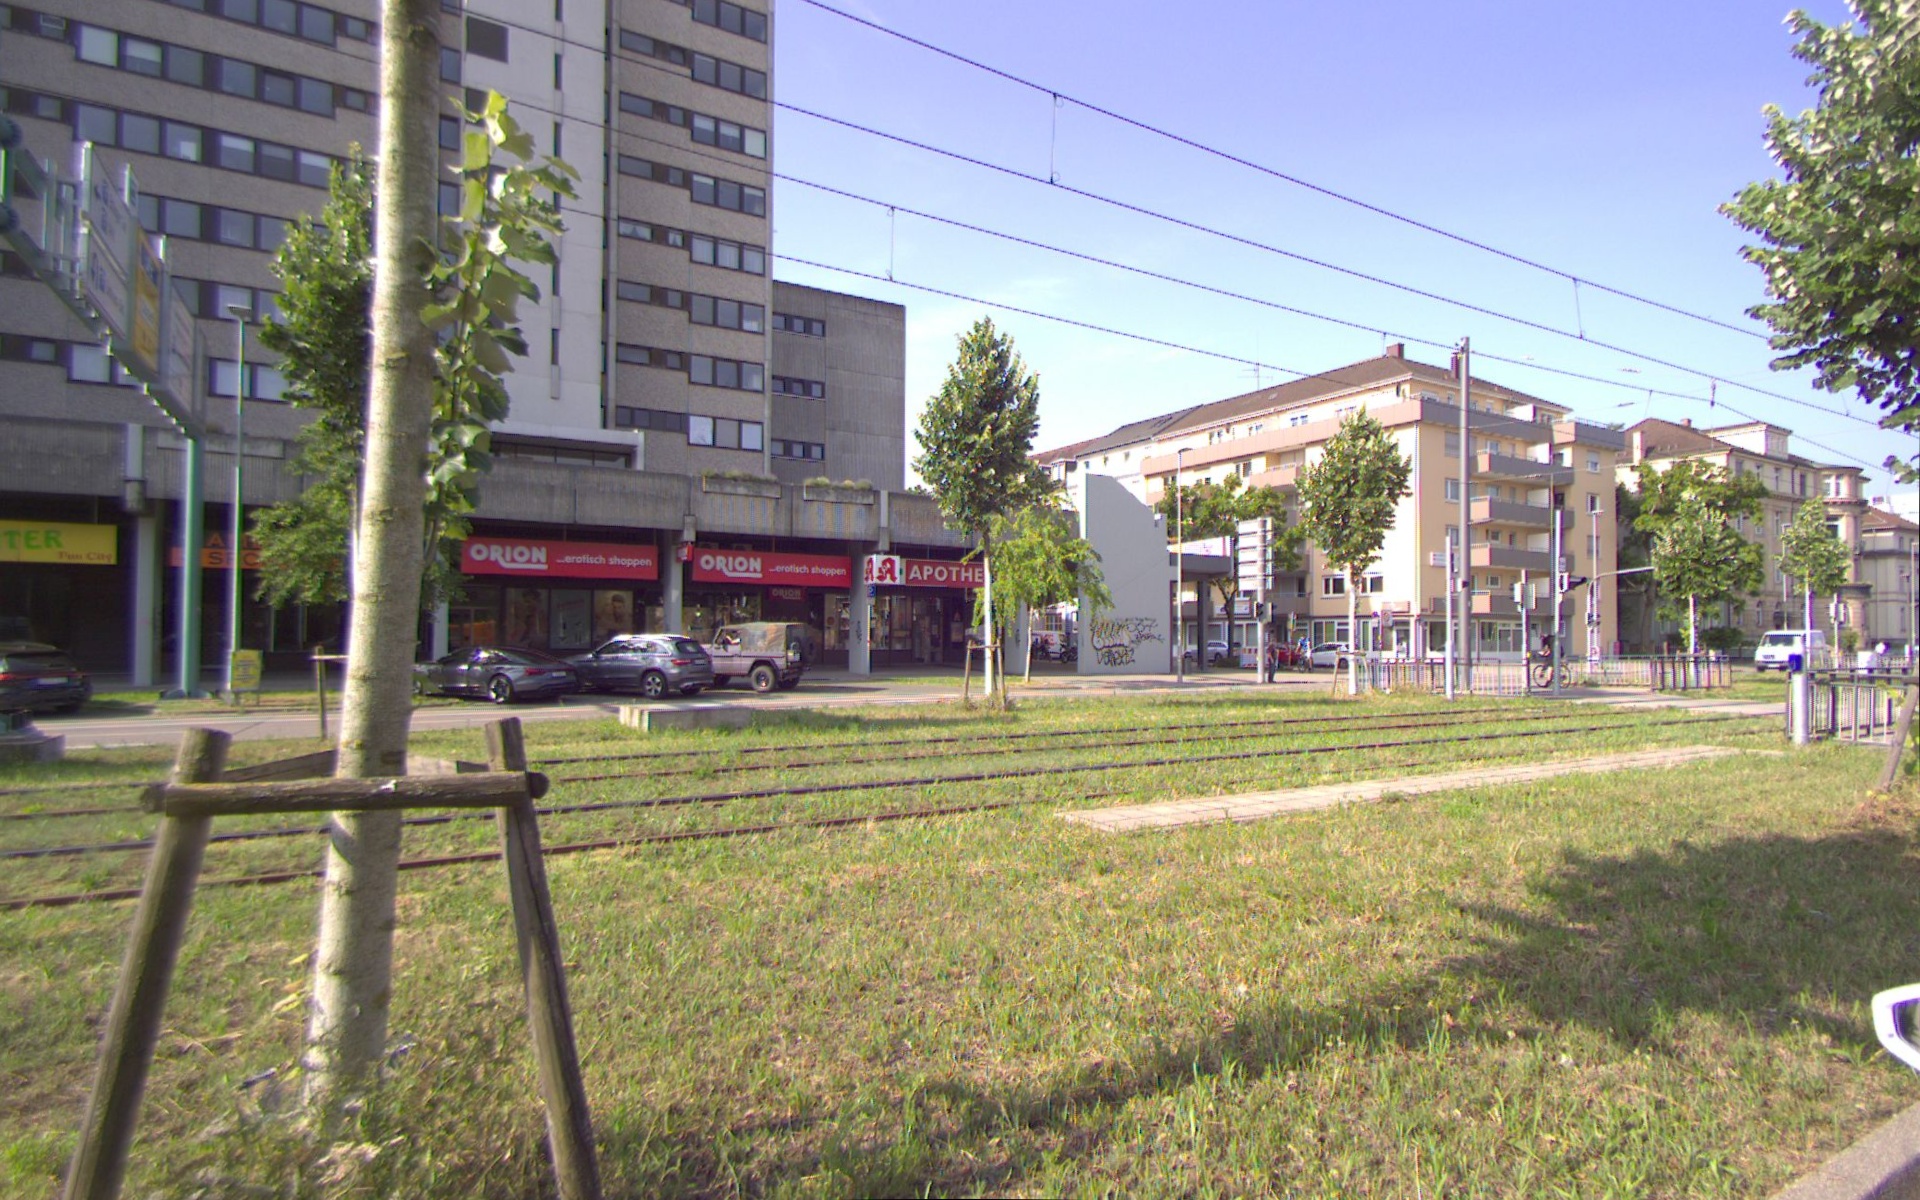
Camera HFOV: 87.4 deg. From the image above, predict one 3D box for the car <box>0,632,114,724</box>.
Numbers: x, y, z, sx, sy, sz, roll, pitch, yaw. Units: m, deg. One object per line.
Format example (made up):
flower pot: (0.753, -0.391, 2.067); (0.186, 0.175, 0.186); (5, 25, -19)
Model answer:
car: (-19.955, 1.524, 20.554); (3.919, 1.604, 2.104); (1, 0, 13)

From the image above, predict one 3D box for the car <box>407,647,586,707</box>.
car: (-11.881, 1.931, 25.784); (4.030, 1.261, 1.879); (1, 0, 20)

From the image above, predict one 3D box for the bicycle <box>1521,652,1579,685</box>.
bicycle: (17.731, 2.058, 30.221); (0.547, 0.947, 1.611); (-1, -4, -10)

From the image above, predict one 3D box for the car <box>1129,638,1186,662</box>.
car: (14.258, 3.587, 72.632); (1.797, 1.625, 3.915); (2, -2, -35)

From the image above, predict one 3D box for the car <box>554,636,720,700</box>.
car: (-8.869, 1.825, 27.650); (4.031, 1.627, 1.880); (0, -2, 20)

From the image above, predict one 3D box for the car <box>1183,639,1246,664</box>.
car: (17.059, 3.447, 67.435); (1.797, 1.625, 3.916); (2, -2, -34)

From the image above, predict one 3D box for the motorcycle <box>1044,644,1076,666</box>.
motorcycle: (5.250, 2.873, 52.603); (1.658, 1.180, 0.626); (1, -2, -30)

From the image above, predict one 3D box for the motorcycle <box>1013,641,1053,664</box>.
motorcycle: (4.115, 2.941, 56.521); (2.116, 1.269, 0.820); (1, -2, -30)

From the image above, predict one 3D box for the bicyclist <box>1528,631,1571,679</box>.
bicyclist: (17.719, 1.671, 30.217); (0.536, 1.413, 0.972); (-1, -4, -10)

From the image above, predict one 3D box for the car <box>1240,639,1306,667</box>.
car: (19.670, 3.304, 63.233); (1.756, 1.711, 3.765); (2, -2, -33)

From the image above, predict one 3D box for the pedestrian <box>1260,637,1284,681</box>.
pedestrian: (12.301, 2.308, 39.658); (0.637, 1.712, 0.656); (1, -2, -28)

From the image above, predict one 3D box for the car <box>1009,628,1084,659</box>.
car: (5.796, 2.941, 67.435); (4.778, 1.994, 1.984); (2, -3, -31)

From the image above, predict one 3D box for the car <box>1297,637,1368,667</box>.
car: (21.974, 3.042, 59.305); (1.691, 1.604, 3.601); (-2, -1, -34)

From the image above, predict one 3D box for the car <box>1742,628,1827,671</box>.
car: (45.554, 2.697, 55.466); (5.275, 2.268, 2.035); (1, -2, -32)

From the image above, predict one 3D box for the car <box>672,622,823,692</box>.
car: (-6.356, 1.679, 30.138); (4.031, 1.994, 1.880); (0, -2, 20)
